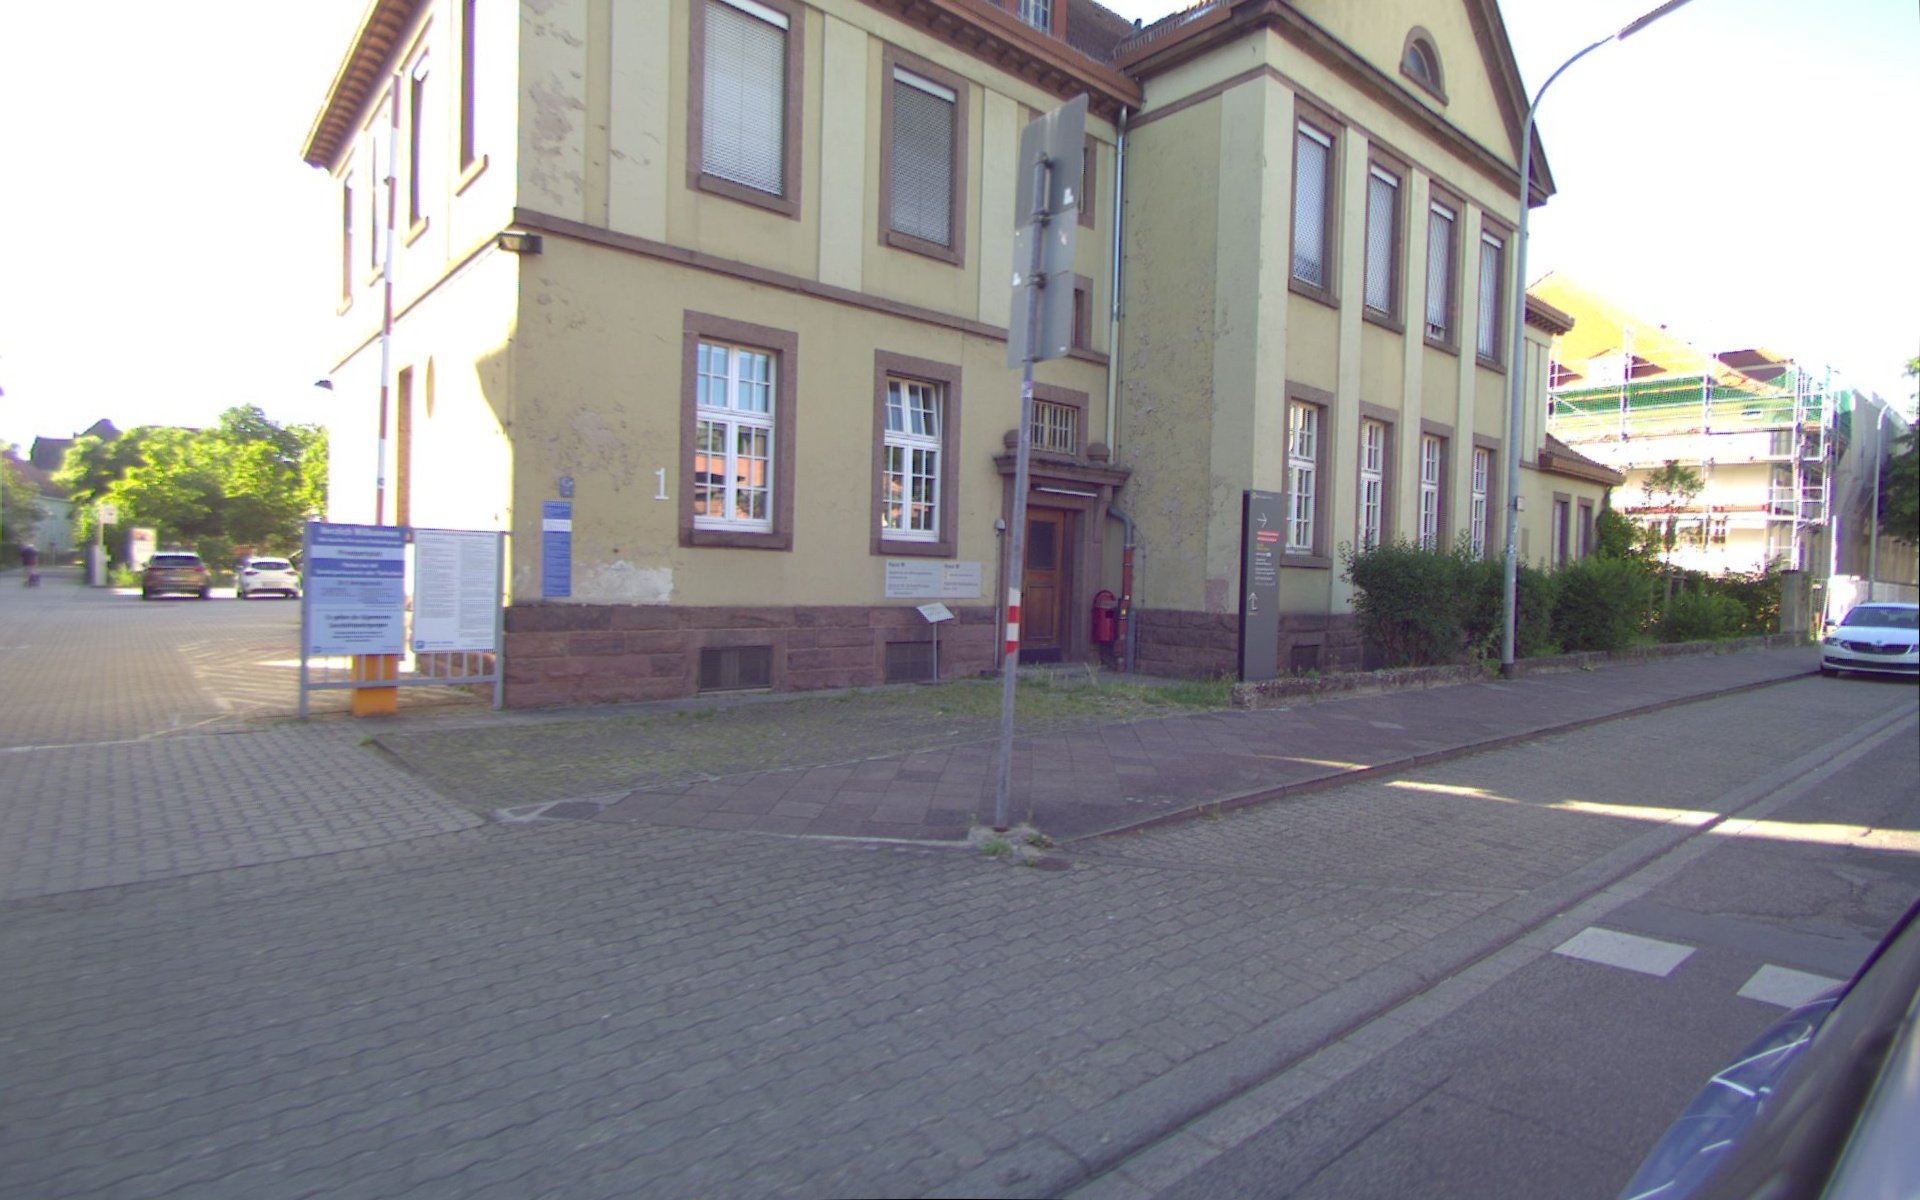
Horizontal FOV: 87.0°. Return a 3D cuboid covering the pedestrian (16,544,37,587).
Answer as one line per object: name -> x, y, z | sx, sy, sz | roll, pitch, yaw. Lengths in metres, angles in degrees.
pedestrian -> -38.753, -1.435, 42.006 | 0.632, 1.739, 0.491 | 0, 1, -43

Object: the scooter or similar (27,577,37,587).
scooter or similar -> -38.194, -0.750, 41.643 | 0.289, 0.417, 0.269 | 0, 1, -43

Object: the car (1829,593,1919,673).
car -> 18.161, 0.574, 19.274 | 4.418, 1.339, 1.836 | -1, 3, -41

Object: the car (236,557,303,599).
car -> -25.040, -0.818, 36.778 | 1.753, 1.418, 3.451 | 0, 2, -30

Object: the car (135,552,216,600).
car -> -26.824, -0.830, 34.702 | 1.753, 1.576, 3.451 | 0, 2, -30
